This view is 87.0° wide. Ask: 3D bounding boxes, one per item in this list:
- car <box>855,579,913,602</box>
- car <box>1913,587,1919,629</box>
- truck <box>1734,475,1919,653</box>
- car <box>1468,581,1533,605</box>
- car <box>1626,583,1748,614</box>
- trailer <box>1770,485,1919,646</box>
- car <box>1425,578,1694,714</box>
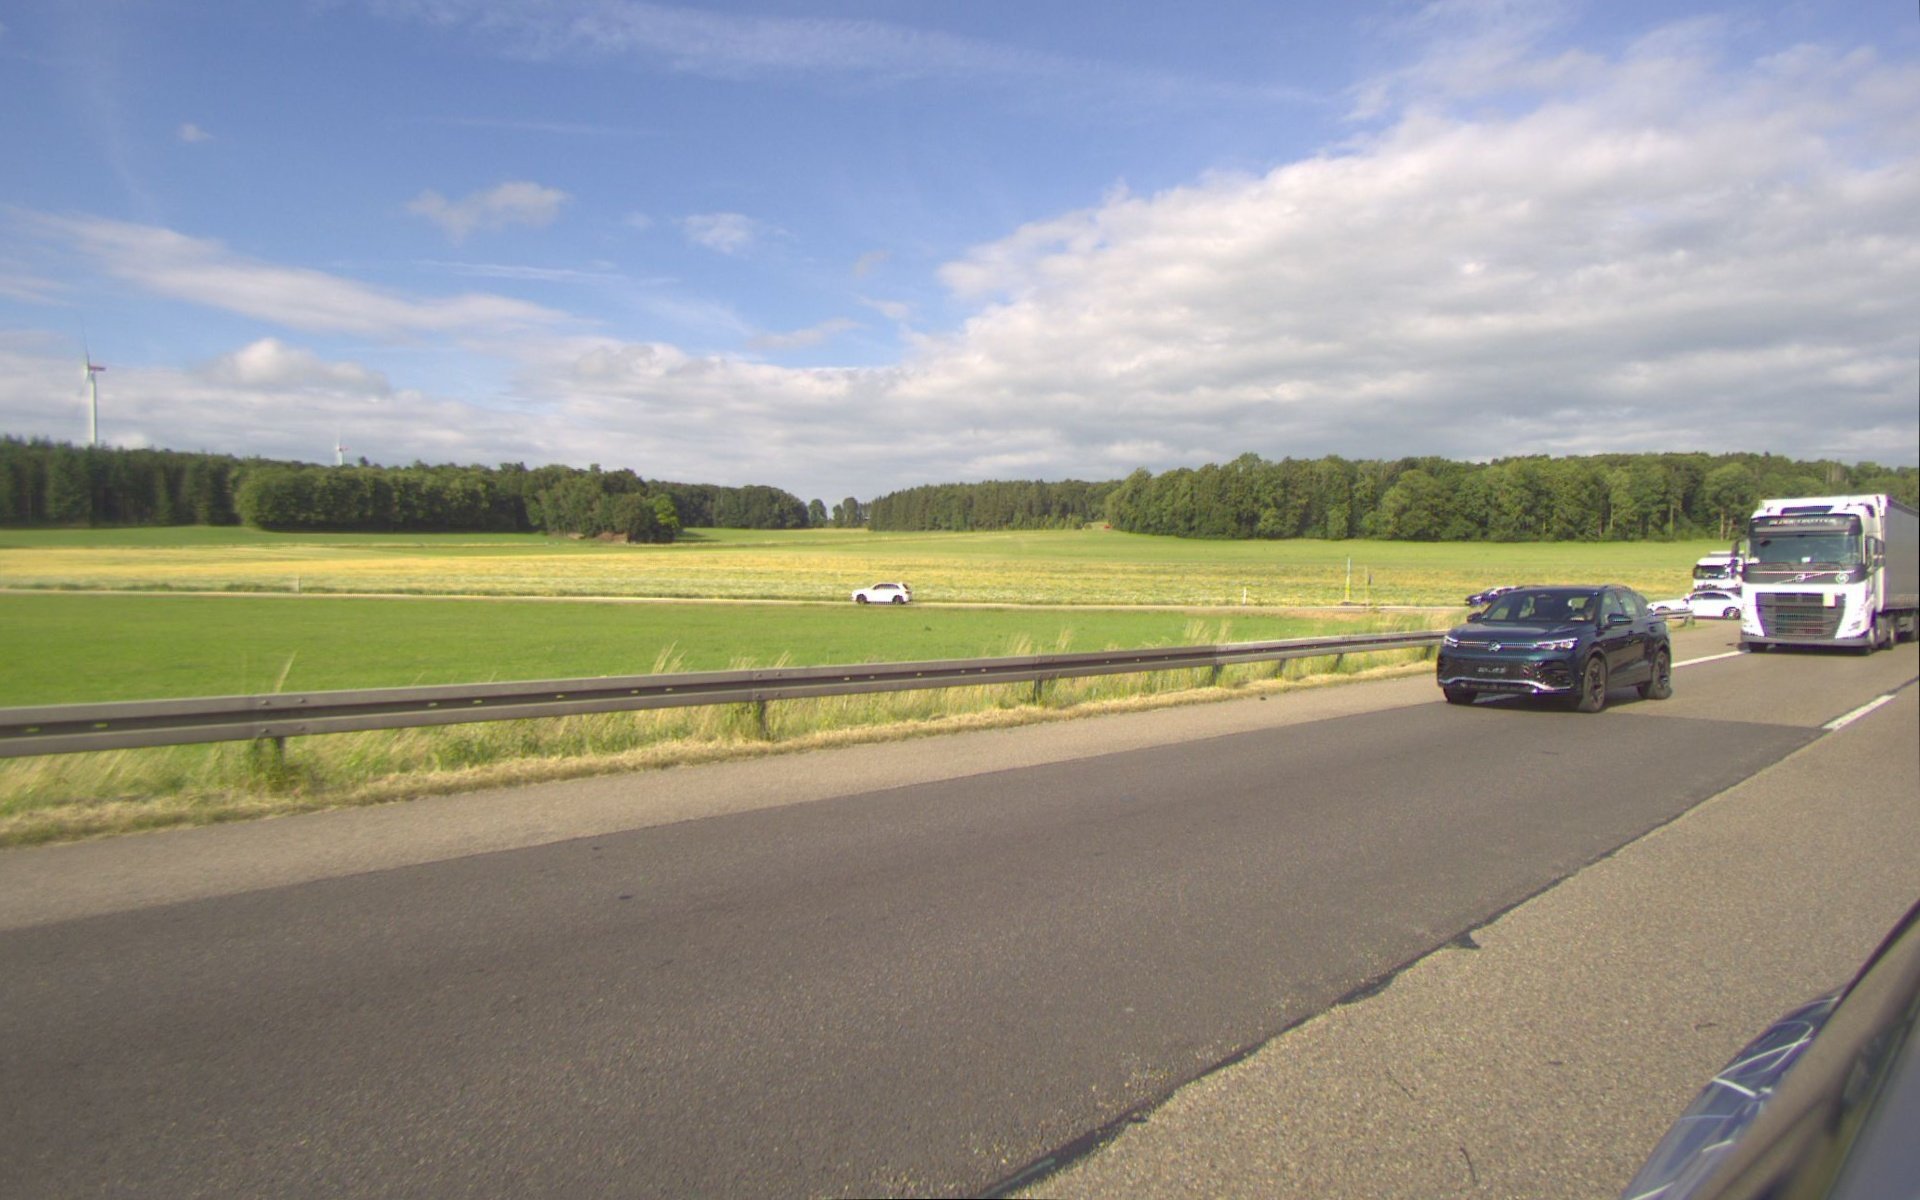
[{"bbox_3d":[-5.568,-0.719,74.710,3.936,1.638,1.994,0,0,11],"label":"car"},{"bbox_3d":[40.631,0.301,41.396,3.930,1.678,1.997,-1,1,-41],"label":"car"},{"bbox_3d":[22.626,-0.869,26.171,6.386,4.040,2.841,-1,0,-40],"label":"truck"},{"bbox_3d":[36.296,-0.461,68.025,3.505,1.549,1.719,0,0,11],"label":"car"},{"bbox_3d":[38.547,-0.088,53.729,5.062,1.565,1.969,0,1,43],"label":"car"},{"bbox_3d":[27.533,-0.953,30.341,11.914,4.032,2.824,-1,0,-40],"label":"trailer"},{"bbox_3d":[8.389,0.511,14.044,4.046,1.616,1.997,-1,1,-40],"label":"car"}]
